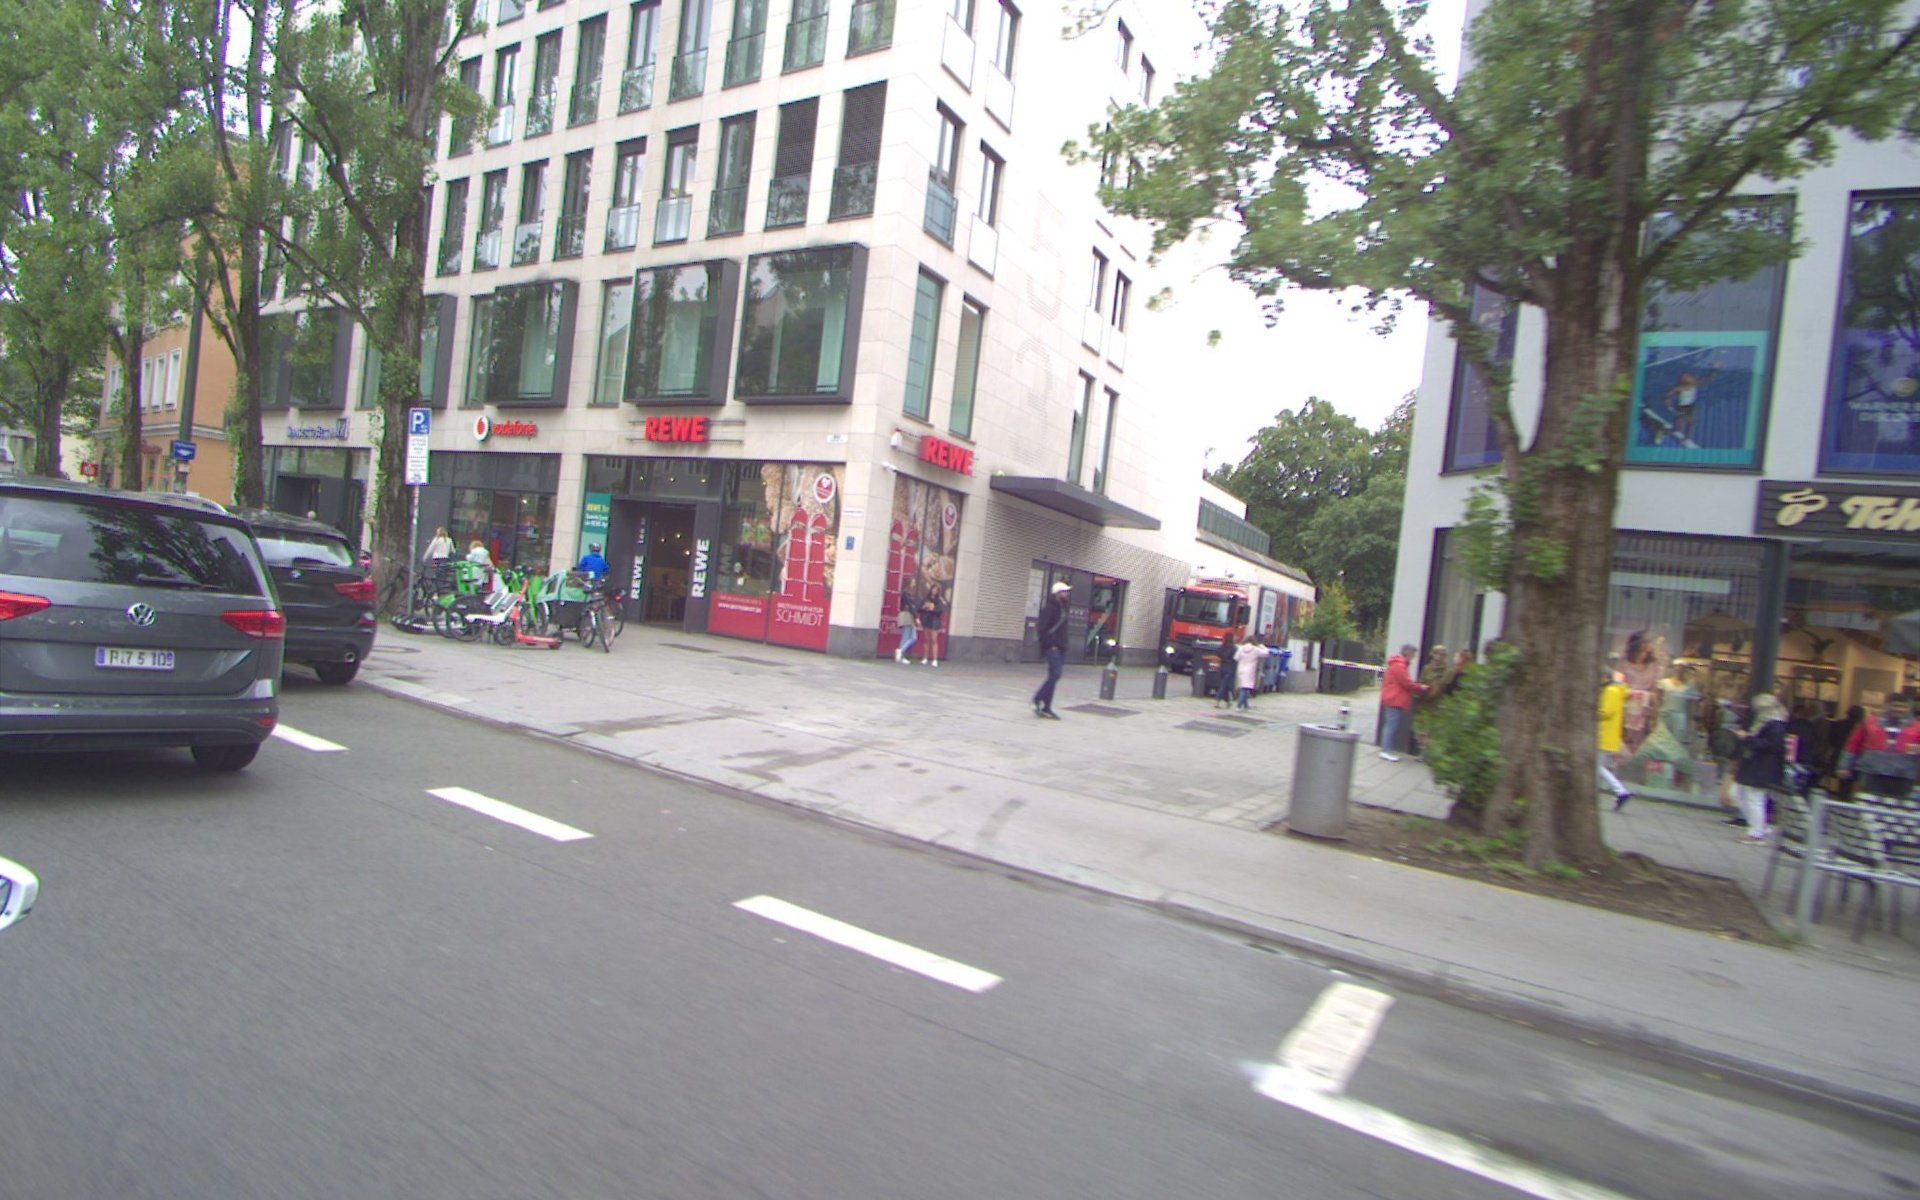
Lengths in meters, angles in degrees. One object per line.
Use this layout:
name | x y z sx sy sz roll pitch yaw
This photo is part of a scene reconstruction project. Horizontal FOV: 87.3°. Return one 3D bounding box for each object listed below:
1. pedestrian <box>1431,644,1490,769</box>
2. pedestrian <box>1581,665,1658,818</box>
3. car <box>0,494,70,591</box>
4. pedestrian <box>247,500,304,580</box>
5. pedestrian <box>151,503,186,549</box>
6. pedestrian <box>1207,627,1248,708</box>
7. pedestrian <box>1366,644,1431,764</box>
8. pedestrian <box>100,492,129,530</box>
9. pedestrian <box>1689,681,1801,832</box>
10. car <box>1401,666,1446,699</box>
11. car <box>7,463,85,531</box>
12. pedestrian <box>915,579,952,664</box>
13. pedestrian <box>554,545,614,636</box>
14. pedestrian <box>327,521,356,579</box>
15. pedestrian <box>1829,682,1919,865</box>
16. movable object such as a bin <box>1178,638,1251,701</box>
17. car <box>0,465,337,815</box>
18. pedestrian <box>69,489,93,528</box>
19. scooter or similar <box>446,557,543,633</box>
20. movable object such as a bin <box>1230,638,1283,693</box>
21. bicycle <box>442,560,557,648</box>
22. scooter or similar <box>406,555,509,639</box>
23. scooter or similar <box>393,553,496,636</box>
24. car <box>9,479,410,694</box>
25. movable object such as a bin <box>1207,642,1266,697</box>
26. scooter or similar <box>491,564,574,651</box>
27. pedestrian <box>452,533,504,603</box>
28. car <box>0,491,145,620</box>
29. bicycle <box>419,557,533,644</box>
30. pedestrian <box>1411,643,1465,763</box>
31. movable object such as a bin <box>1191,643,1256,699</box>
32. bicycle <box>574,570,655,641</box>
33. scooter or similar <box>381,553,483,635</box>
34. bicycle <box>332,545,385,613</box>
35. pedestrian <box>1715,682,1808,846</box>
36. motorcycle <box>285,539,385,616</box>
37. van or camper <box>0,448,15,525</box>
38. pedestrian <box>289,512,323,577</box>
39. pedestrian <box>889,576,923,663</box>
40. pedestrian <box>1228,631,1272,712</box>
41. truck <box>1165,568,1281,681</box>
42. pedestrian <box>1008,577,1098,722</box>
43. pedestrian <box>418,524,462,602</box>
pedestrian | 6.901 1.456 13.894 0.498 1.644 0.549 6 0 19
pedestrian | 7.588 1.604 11.587 0.560 1.655 0.490 7 2 33
car | -17.325 -1.162 17.224 4.727 1.468 1.931 7 1 34
pedestrian | -17.248 -1.506 25.359 0.924 1.893 0.817 7 2 36
pedestrian | -28.674 -2.679 36.467 0.701 1.571 0.606 6 2 11
pedestrian | 5.697 1.434 21.405 0.493 1.644 0.504 6 -1 43
pedestrian | 6.303 1.480 14.478 0.498 1.644 0.548 6 0 -7
pedestrian | -38.586 -4.050 45.891 0.768 1.634 0.819 7 2 42
pedestrian | 9.097 1.797 11.680 0.664 1.596 0.564 6 2 3
car | 25.292 4.469 54.785 1.705 1.529 3.991 7 0 31
car | -36.789 -4.123 40.583 1.891 2.358 4.772 5 1 -39
pedestrian | -0.568 0.463 21.624 0.420 1.773 0.467 7 2 35
pedestrian | -7.176 -0.185 19.194 0.781 1.640 0.610 7 2 33
pedestrian | -16.958 -1.373 27.590 0.498 1.510 0.543 6 1 -26
pedestrian | 9.744 1.789 10.525 0.665 1.747 0.760 5 2 -43
movable object such as a bin | 6.316 1.697 24.924 1.369 1.335 1.110 8 2 28
car | -5.934 0.036 6.210 4.114 1.633 1.764 7 0 31
pedestrian | -39.419 -4.119 45.121 0.631 1.634 0.671 7 2 42
scooter or similar | -8.253 -0.071 17.878 0.545 1.226 1.384 7 1 36
movable object such as a bin | 8.899 1.952 30.181 1.162 1.453 1.161 8 2 28
bicycle | -7.024 0.079 15.397 0.527 1.223 1.480 7 1 31
scooter or similar | -7.896 -0.023 15.868 0.306 1.216 1.436 7 1 30
scooter or similar | -8.185 -0.061 16.016 0.306 1.216 1.436 7 1 30
car | -7.951 -0.196 10.514 4.577 1.720 1.926 6 -1 35
movable object such as a bin | 7.551 1.889 27.432 1.162 1.311 1.161 8 2 28
scooter or similar | -6.501 0.133 15.336 0.373 1.241 1.051 7 1 31
pedestrian | -12.172 -0.804 25.403 0.705 1.642 0.794 7 2 29
car | -13.485 -0.759 14.220 4.730 1.520 1.810 7 1 35
bicycle | -7.506 0.028 15.657 0.527 1.223 1.480 7 1 31
pedestrian | 6.922 1.480 14.582 0.539 1.644 0.507 6 0 24
movable object such as a bin | 6.801 1.817 25.956 1.277 1.237 1.110 8 2 28
bicycle | -6.731 0.105 19.549 1.740 1.187 0.450 7 2 34
scooter or similar | -8.465 -0.073 16.179 0.306 1.216 1.436 7 1 30
bicycle | -11.469 -0.412 19.217 0.540 1.205 1.447 5 1 -22
pedestrian | 8.346 1.681 10.499 0.560 1.587 0.490 7 2 33
motorcycle | -12.705 -0.453 20.467 1.612 1.374 0.688 6 2 12
van or camper | -42.298 -5.013 42.768 4.648 3.152 2.456 7 2 40
pedestrian | -17.414 -1.481 26.794 0.545 1.658 0.555 6 1 -26
pedestrian | -1.134 0.408 21.131 0.460 1.773 0.427 6 1 6
pedestrian | 6.005 1.473 20.802 0.544 1.599 0.504 6 -1 44
truck | 9.537 0.920 36.074 2.586 3.495 5.562 7 1 27
pedestrian | 1.341 0.704 14.513 0.910 1.949 0.646 7 2 31
pedestrian | -12.629 -0.899 24.413 0.787 1.795 0.676 5 2 -30
